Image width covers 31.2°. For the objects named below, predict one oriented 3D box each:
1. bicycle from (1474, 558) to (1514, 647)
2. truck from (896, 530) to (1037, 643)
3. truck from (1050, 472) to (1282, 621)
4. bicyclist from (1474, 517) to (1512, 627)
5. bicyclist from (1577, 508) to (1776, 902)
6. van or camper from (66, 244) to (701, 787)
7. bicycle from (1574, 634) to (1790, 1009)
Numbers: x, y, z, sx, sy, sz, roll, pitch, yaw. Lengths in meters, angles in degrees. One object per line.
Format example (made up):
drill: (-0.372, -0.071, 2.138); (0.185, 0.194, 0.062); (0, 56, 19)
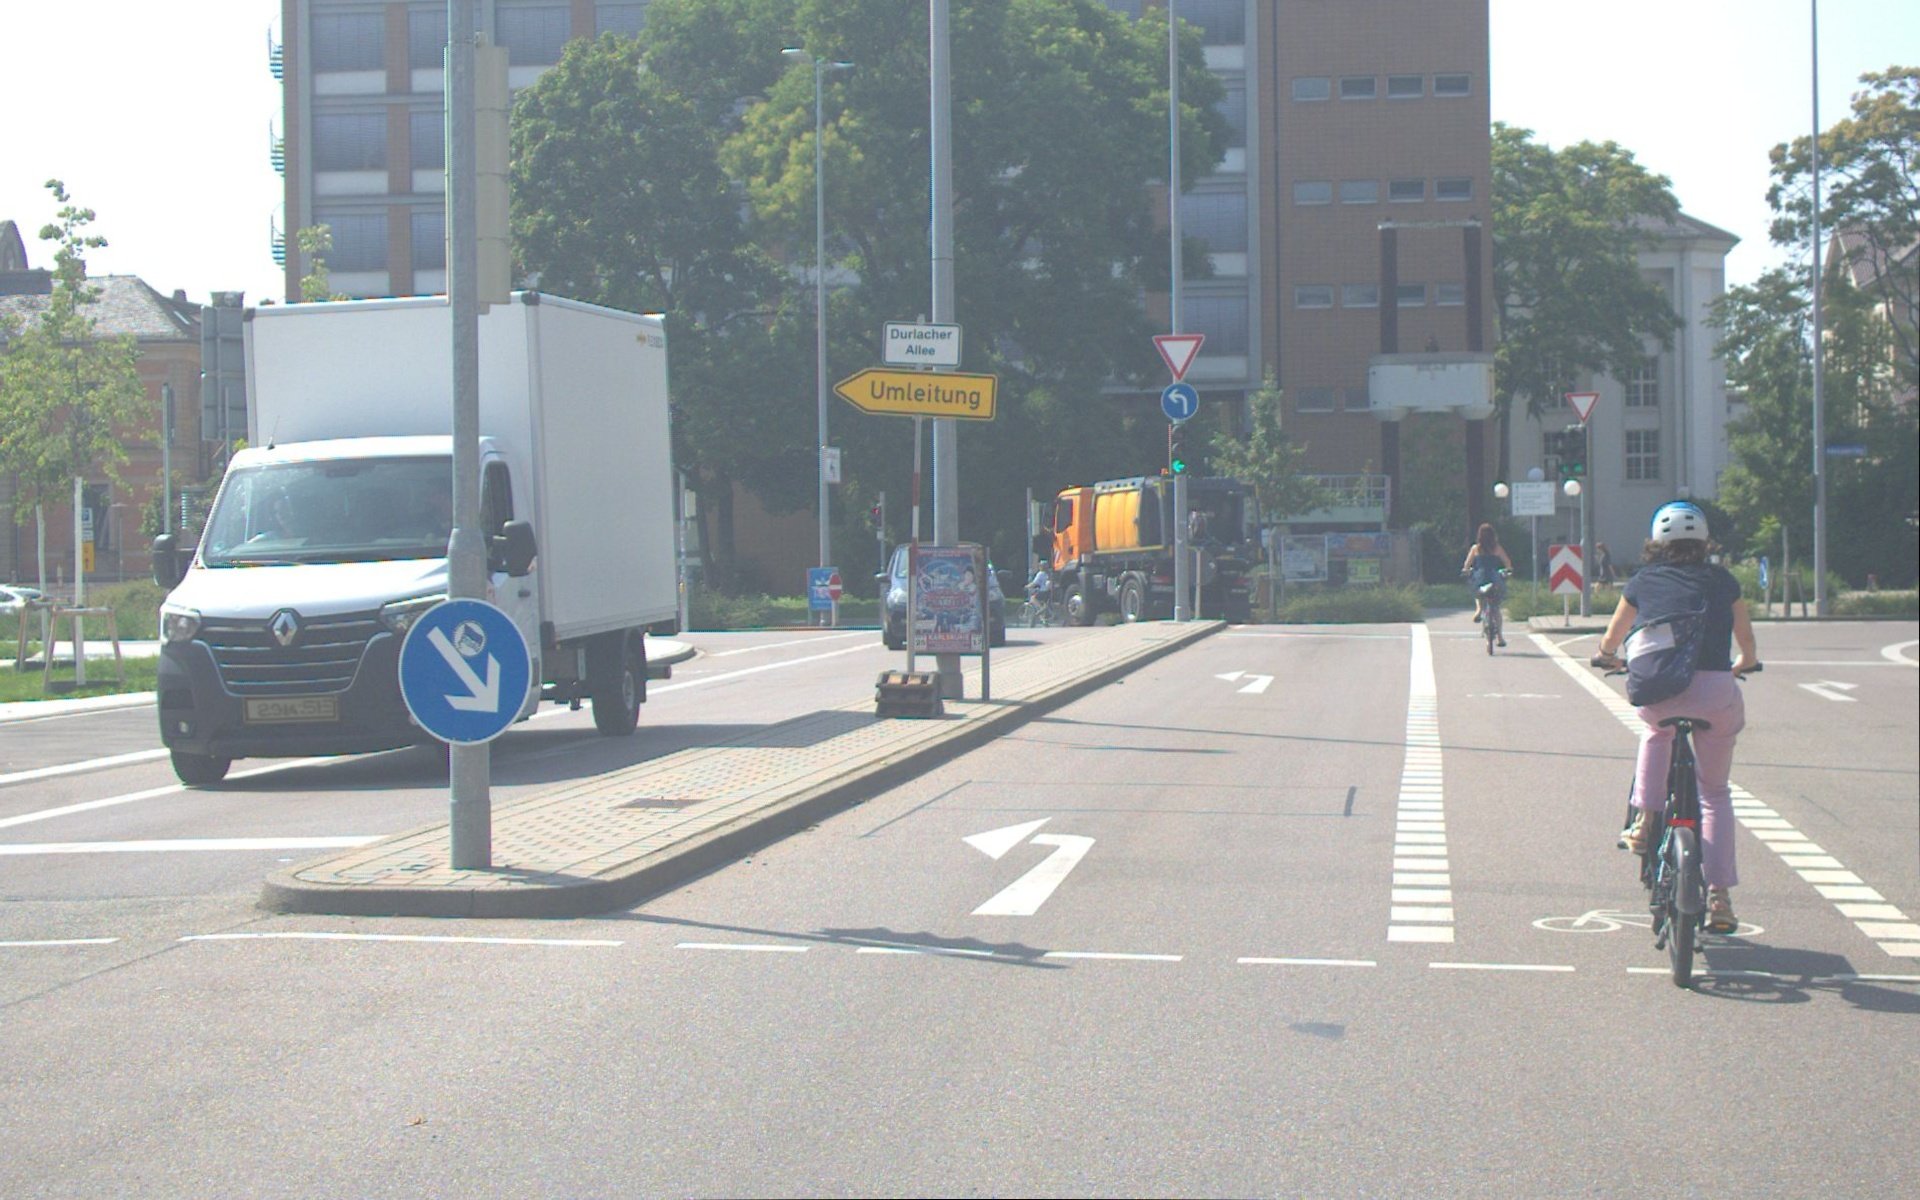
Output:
bicycle: (6.906, 0.025, 44.500); (0.444, 1.113, 1.446); (-1, 1, 7)
truck: (0.126, -0.215, 48.091); (1.555, 1.499, 3.620); (-1, 1, 7)
truck: (4.227, -1.090, 71.864); (2.695, 2.979, 5.968); (0, 0, -20)
bicyclist: (6.914, -0.366, 44.618); (0.450, 1.416, 0.495); (-1, 1, 7)
bicyclist: (2.480, 0.351, 11.943); (0.603, 1.330, 0.659); (-1, 1, 6)
van or camper: (-3.823, -0.572, 24.675); (2.400, 3.295, 7.188); (-1, 1, 8)
bicycle: (2.498, 0.727, 12.032); (0.604, 1.159, 1.810); (0, 1, 8)
